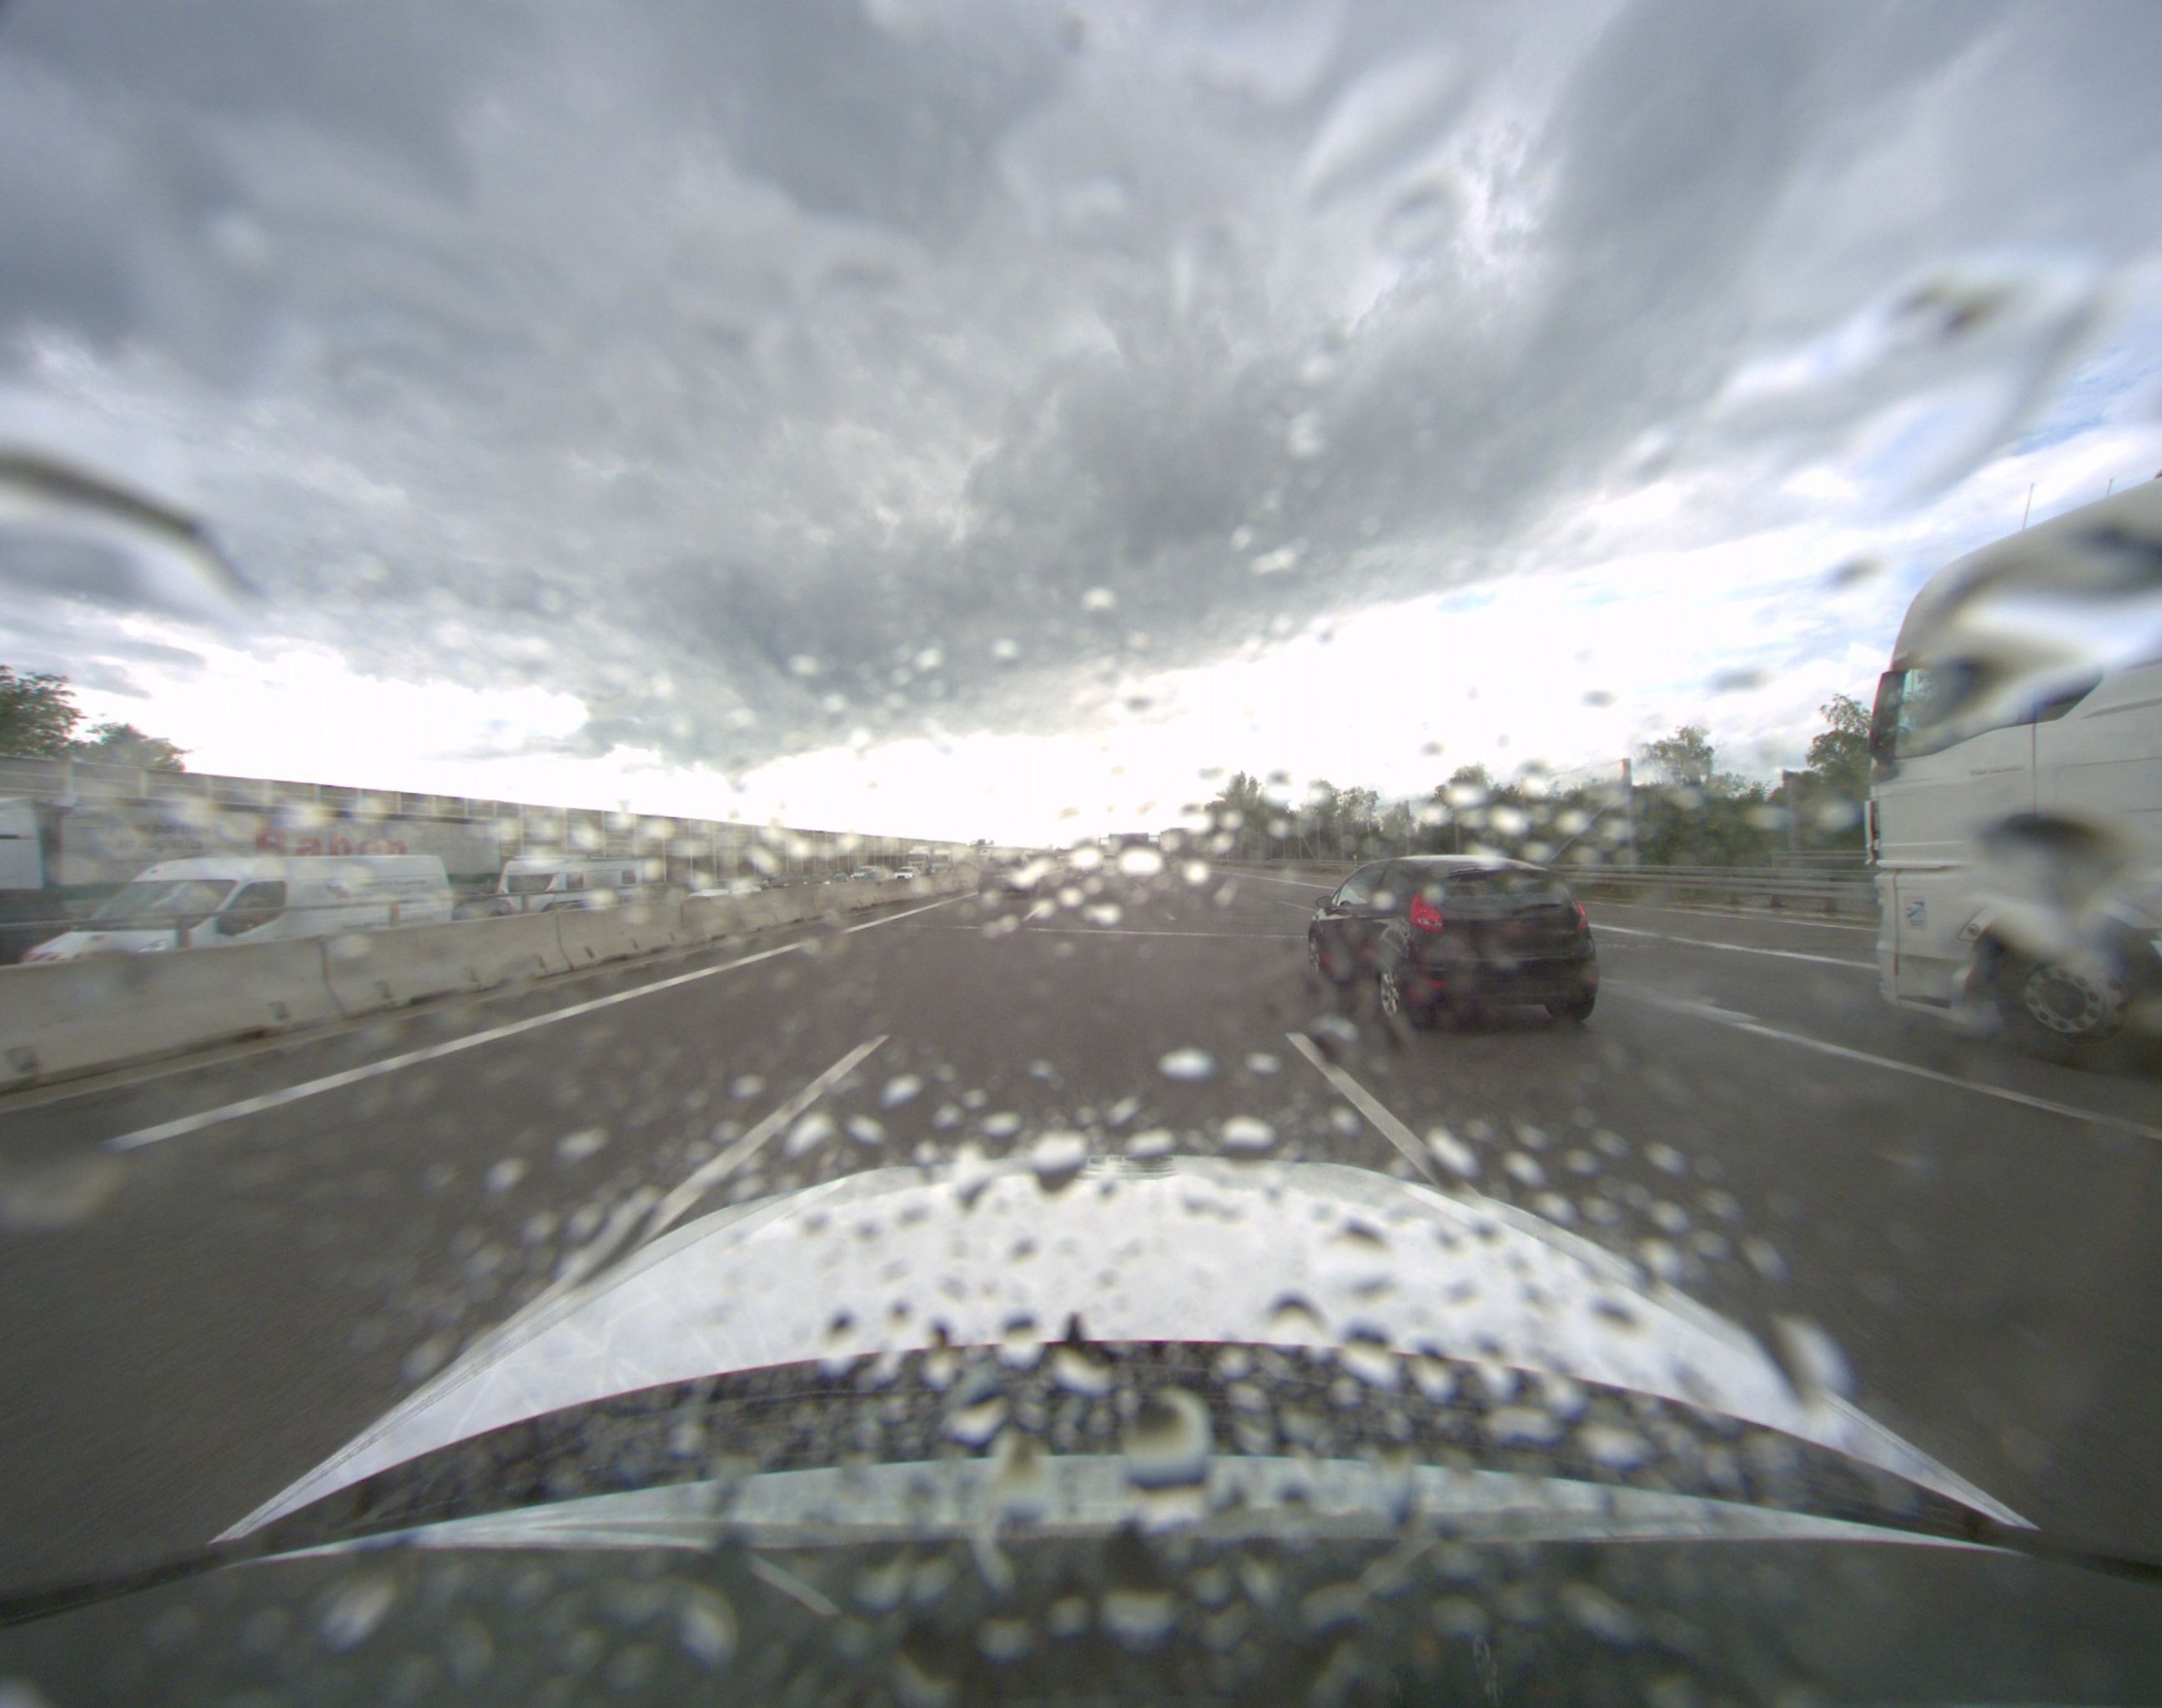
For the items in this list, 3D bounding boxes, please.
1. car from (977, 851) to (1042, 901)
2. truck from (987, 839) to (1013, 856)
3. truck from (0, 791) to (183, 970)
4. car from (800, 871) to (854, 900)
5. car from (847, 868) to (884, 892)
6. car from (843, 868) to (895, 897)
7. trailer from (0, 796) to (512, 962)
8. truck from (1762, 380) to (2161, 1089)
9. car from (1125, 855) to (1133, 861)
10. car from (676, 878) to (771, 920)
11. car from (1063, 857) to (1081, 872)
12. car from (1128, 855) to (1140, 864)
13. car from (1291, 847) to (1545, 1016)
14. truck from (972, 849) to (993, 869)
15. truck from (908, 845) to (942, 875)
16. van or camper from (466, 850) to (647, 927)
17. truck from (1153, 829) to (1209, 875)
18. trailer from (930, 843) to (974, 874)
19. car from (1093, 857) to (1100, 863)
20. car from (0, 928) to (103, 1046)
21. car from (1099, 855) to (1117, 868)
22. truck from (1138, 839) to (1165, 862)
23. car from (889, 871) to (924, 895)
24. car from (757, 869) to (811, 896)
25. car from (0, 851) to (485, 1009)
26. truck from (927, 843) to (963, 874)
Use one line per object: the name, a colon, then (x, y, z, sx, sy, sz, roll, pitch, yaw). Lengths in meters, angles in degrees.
car: (-2.679, 0.774, 31.623, 1.902, 1.691, 5.170, -2, 0, 1)
truck: (-17.223, -1.410, 174.254, 3.254, 3.352, 16.092, -1, 0, 2)
truck: (-25.011, 0.595, 18.836, 2.567, 3.935, 5.179, -1, 0, 2)
car: (-16.312, 1.980, 52.490, 1.916, 1.599, 4.254, -2, 0, 2)
car: (-19.164, 2.308, 72.634, 1.916, 1.906, 4.254, -2, 0, 2)
car: (-13.162, 1.725, 50.816, 1.916, 1.599, 4.254, -2, 0, 2)
trailer: (-24.755, 0.560, 26.322, 2.553, 3.935, 13.822, -1, 0, 2)
truck: (7.609, -0.693, 4.061, 2.951, 4.019, 6.590, -1, 0, 1)
car: (11.812, 0.981, 201.292, 1.830, 1.441, 4.055, -1, 1, 0)
car: (-16.423, 2.016, 37.741, 1.916, 1.599, 5.098, -2, 0, 2)
car: (-0.960, 1.004, 82.186, 1.756, 1.369, 5.057, -1, 1, -1)
car: (9.202, 1.009, 142.228, 1.830, 1.441, 4.055, -1, 1, 0)
car: (3.373, 0.672, 8.750, 1.442, 1.441, 3.164, -2, 0, 1)
truck: (-17.138, 0.819, 142.324, 2.312, 3.347, 8.357, -1, 0, 2)
truck: (-21.924, 0.794, 114.781, 2.700, 4.074, 8.919, -1, 0, 2)
van or camper: (-20.600, 1.215, 32.589, 2.335, 2.641, 7.153, -2, 0, 2)
truck: (9.969, -0.241, 82.955, 4.166, 4.288, 12.611, -1, 0, 0)
trailer: (-17.650, 0.541, 112.637, 3.067, 3.935, 14.989, -1, 0, 2)
car: (4.089, 1.448, 213.144, 1.767, 1.441, 3.872, -1, 1, -1)
car: (-17.433, 2.113, 11.173, 2.071, 1.659, 4.803, -2, 0, 2)
car: (2.992, 0.832, 91.516, 1.767, 1.441, 4.053, -1, 1, -1)
truck: (13.572, -0.689, 158.177, 4.229, 4.176, 11.990, -1, 0, 0)
car: (-15.409, 2.546, 72.142, 1.916, 1.906, 4.254, -2, 0, 2)
car: (-20.105, 1.912, 55.327, 1.916, 1.599, 4.254, -2, 0, 2)
car: (-13.723, 1.023, 14.096, 2.151, 2.071, 6.017, -2, 0, 2)
truck: (-17.838, 0.573, 106.986, 3.068, 3.935, 8.057, -1, 0, 2)
